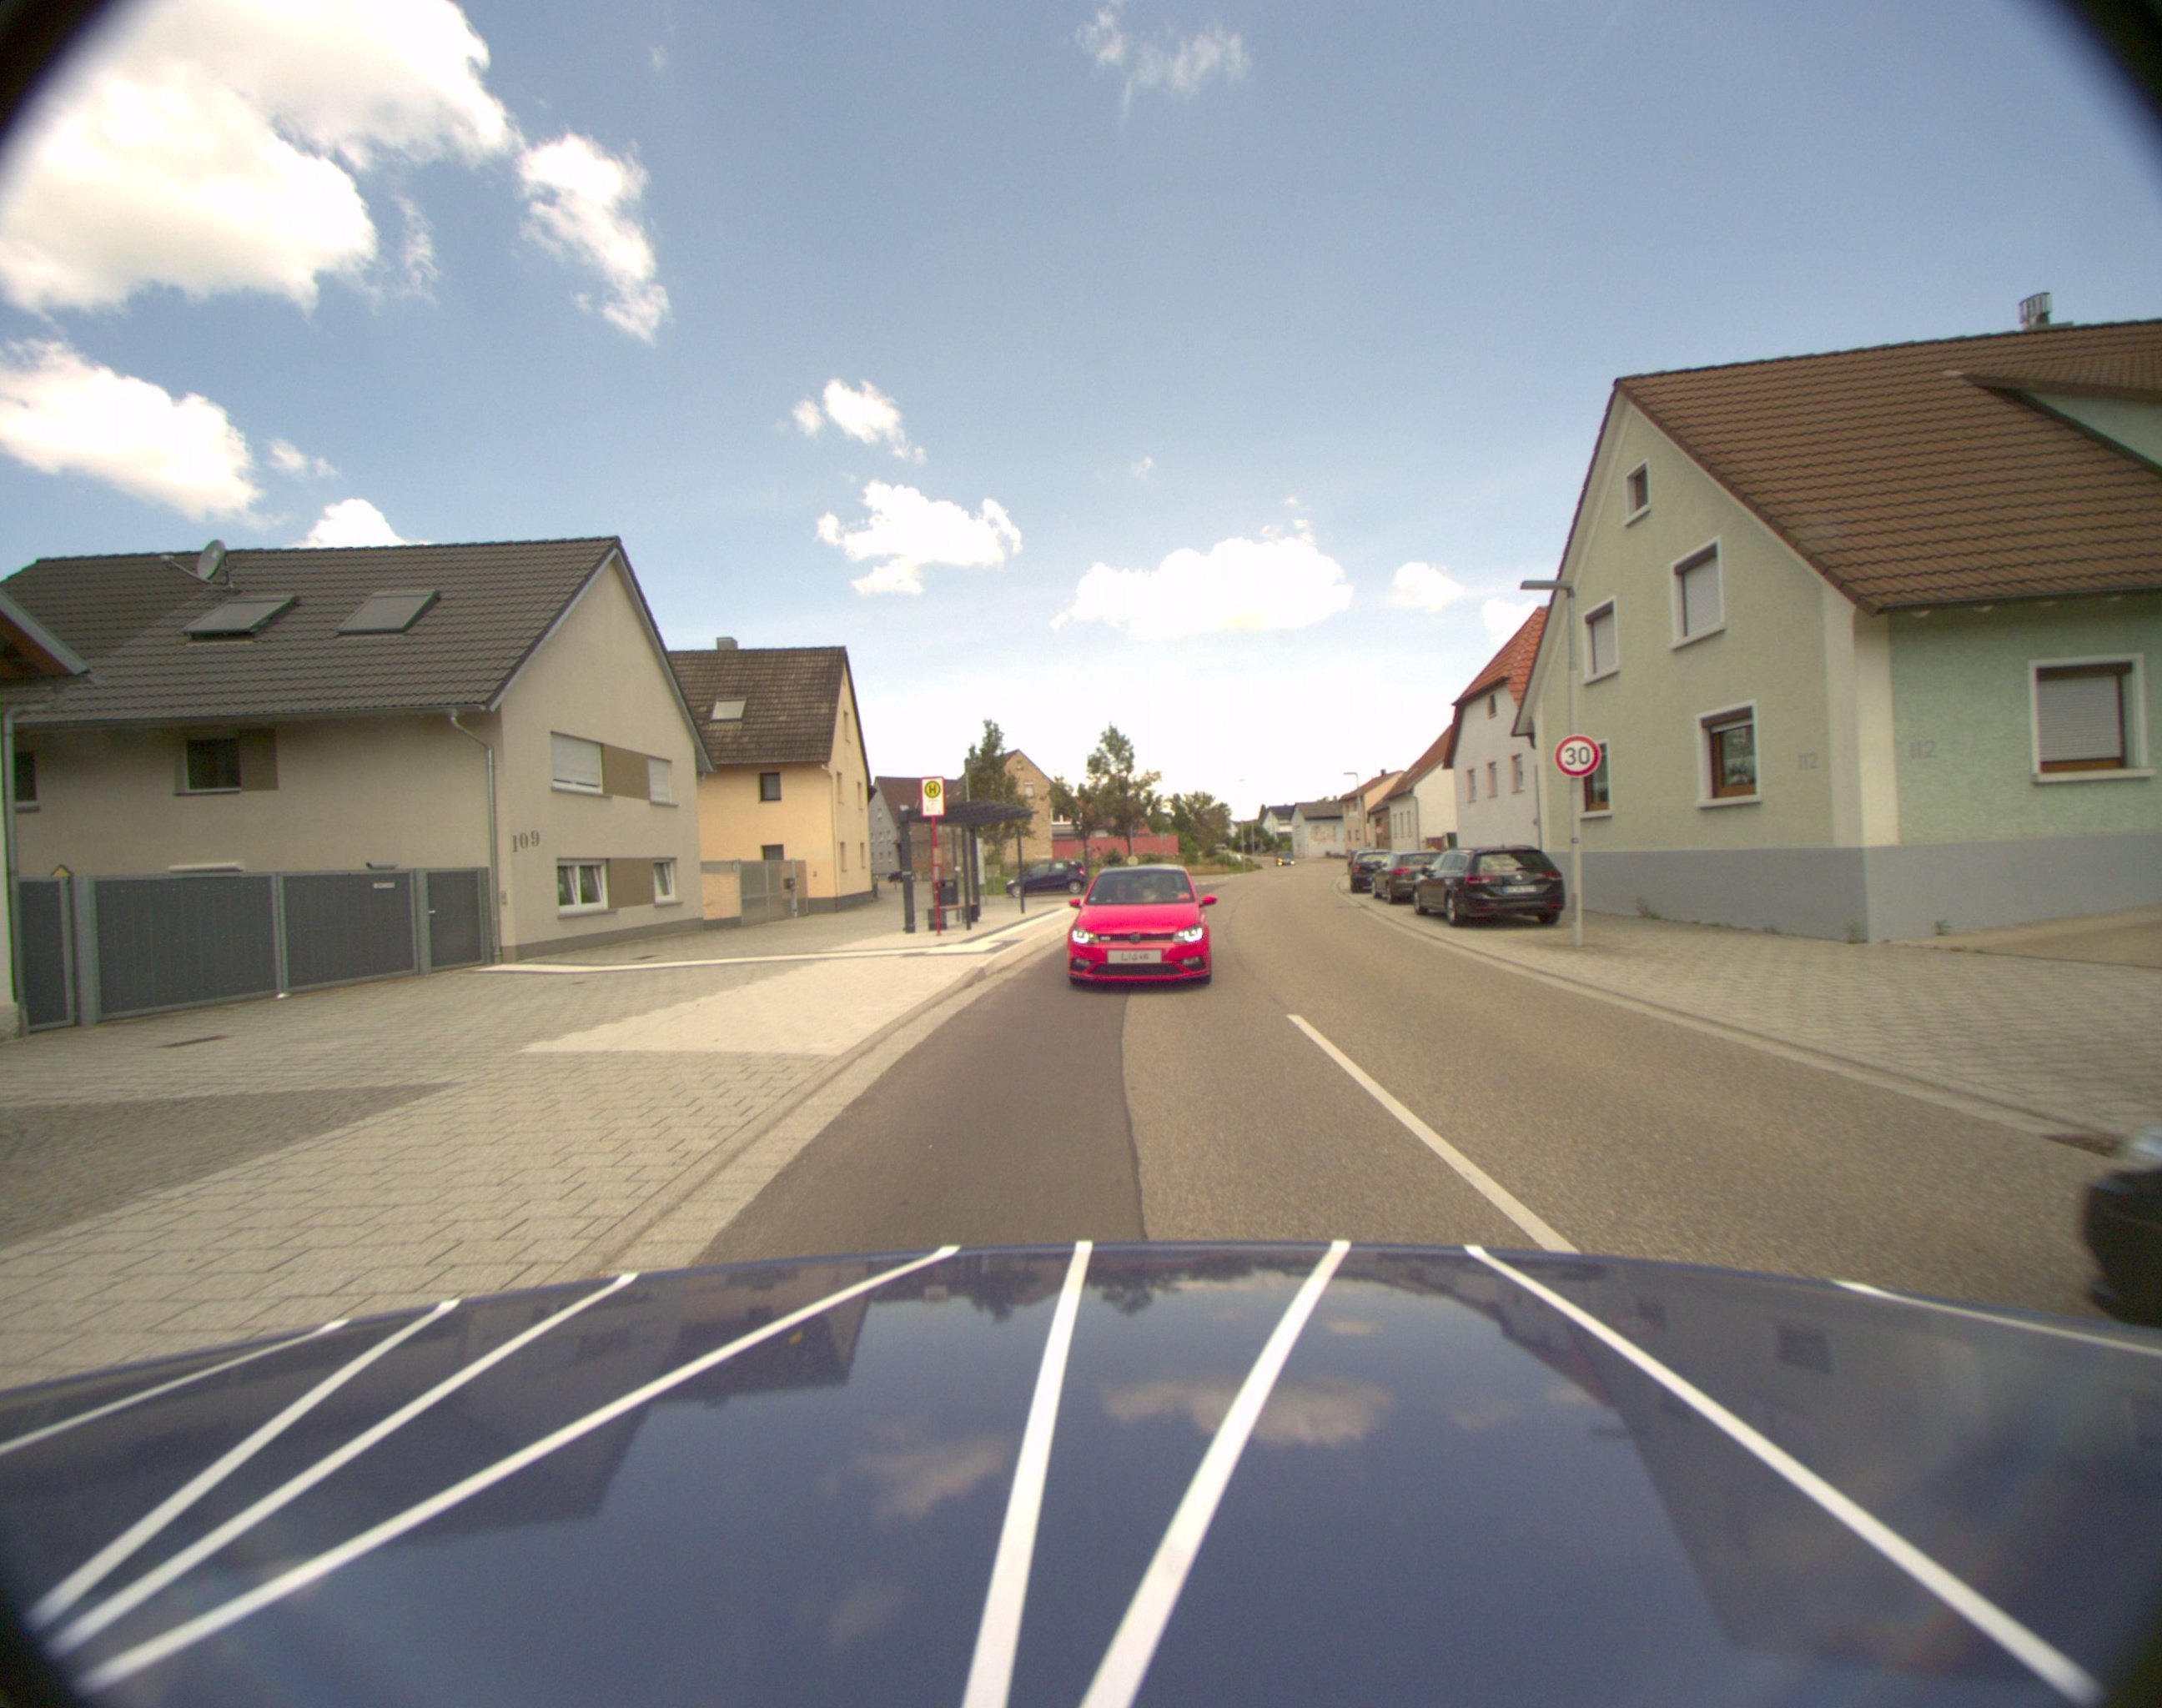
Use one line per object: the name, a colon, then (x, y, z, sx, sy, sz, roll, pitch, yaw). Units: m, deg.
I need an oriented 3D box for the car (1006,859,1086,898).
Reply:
car: (-1.575, 1.109, 34.979, 3.547, 1.583, 1.666, -3, 0, 0)

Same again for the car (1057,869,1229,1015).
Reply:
car: (0.703, 0.980, 10.013, 1.782, 1.403, 3.888, -2, 0, 1)

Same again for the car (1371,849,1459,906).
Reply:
car: (9.237, 0.606, 21.269, 1.658, 1.388, 3.695, -2, 0, 15)

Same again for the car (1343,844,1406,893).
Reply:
car: (10.341, 0.464, 26.982, 1.658, 1.553, 3.695, -2, 0, 15)

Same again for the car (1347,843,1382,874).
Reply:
car: (15.974, 0.215, 42.767, 1.657, 1.565, 3.697, -2, 1, 22)

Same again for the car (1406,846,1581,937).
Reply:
car: (7.924, 0.630, 15.096, 1.735, 1.482, 4.503, -2, 0, 11)

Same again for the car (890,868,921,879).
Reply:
car: (-18.203, 2.047, 78.666, 1.806, 1.053, 3.990, -3, 0, -34)

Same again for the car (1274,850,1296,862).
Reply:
car: (22.614, 0.170, 84.210, 1.997, 1.182, 4.003, -2, 1, 10)
